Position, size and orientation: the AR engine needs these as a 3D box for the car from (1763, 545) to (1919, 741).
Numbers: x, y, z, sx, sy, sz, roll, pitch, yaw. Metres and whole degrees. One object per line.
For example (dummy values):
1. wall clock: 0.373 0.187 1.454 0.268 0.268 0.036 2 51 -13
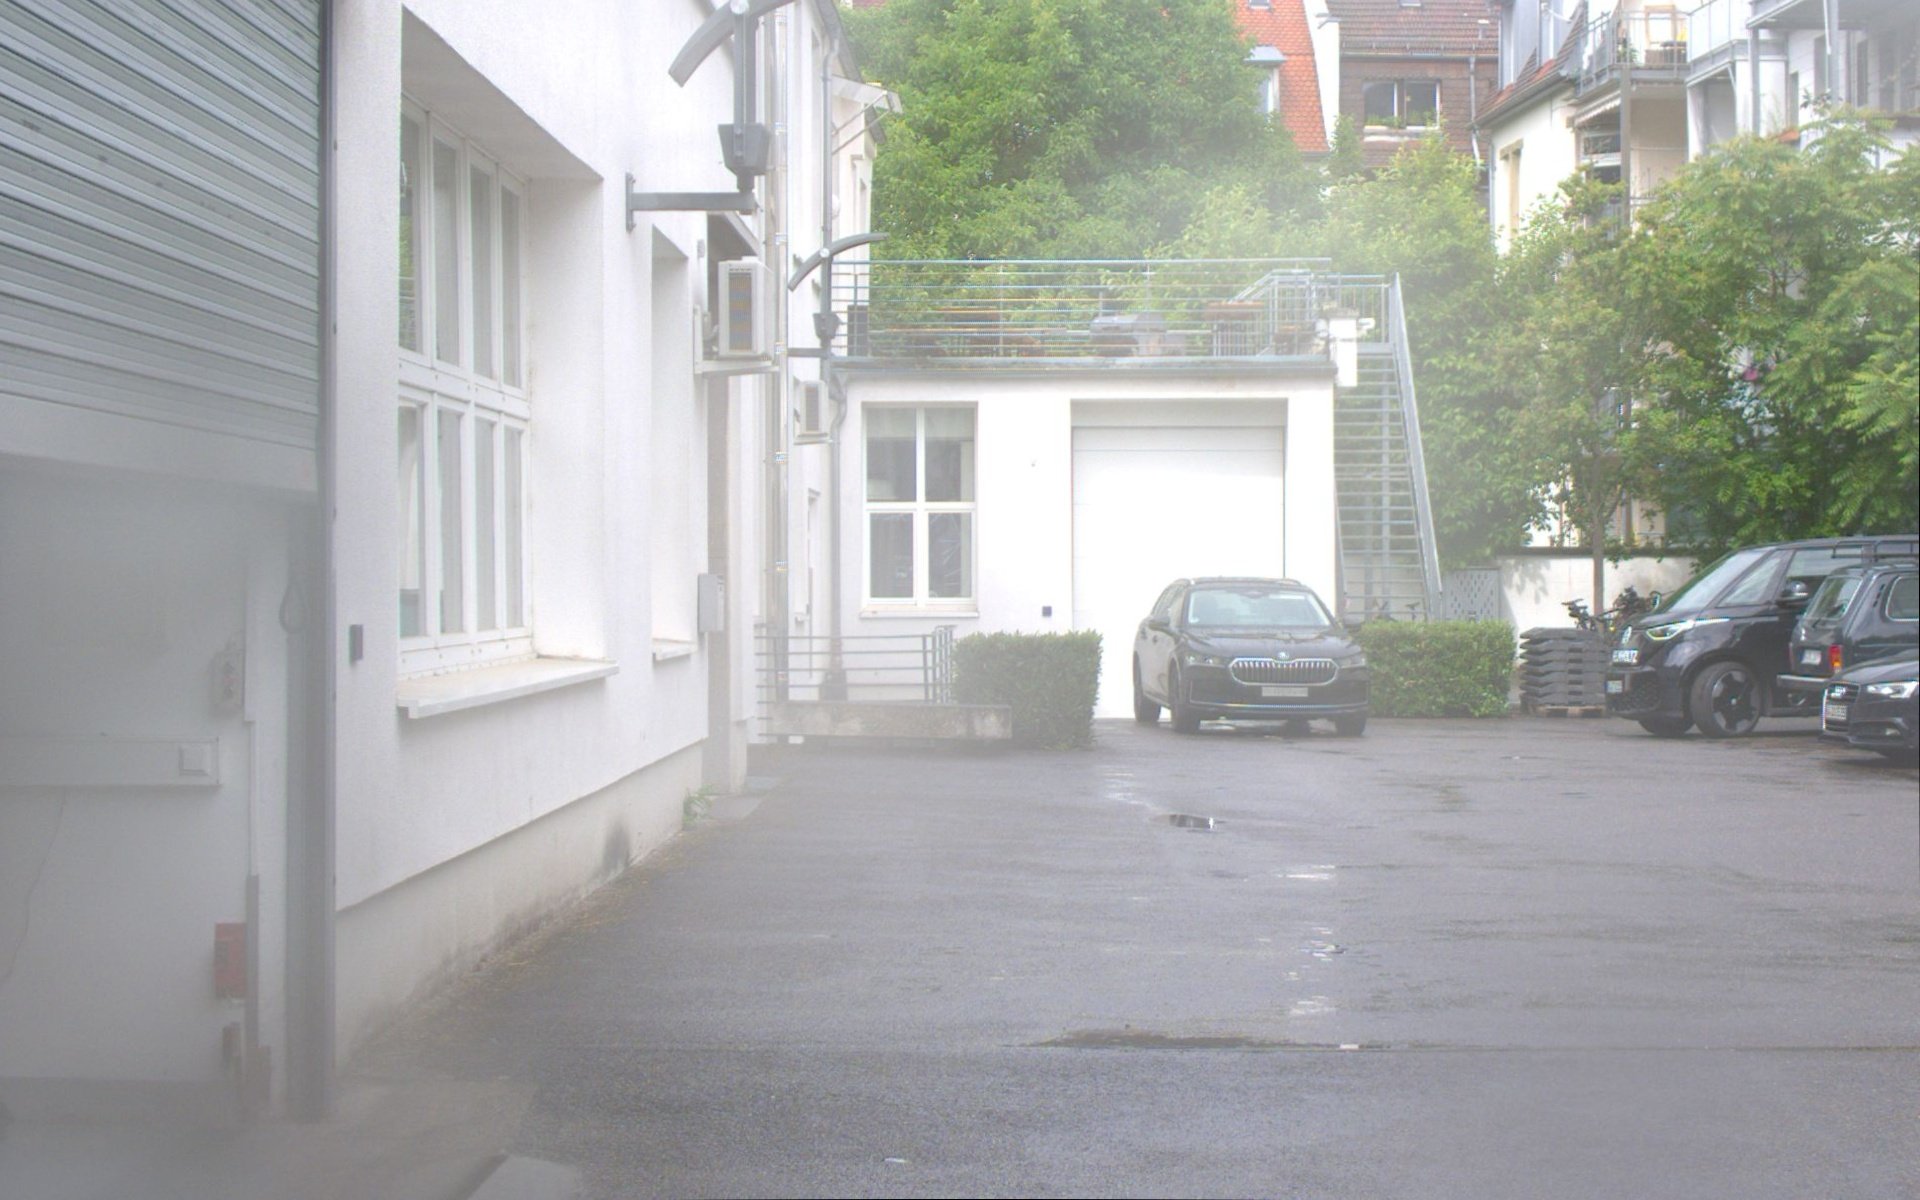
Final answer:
1. car: 9.363 0.339 30.715 3.909 1.682 1.817 -1 0 0

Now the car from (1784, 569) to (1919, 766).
1. car: 8.785 0.481 27.450 3.908 1.508 1.752 -1 0 -4

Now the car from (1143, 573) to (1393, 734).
1. car: 2.898 0.472 33.189 1.979 1.439 4.000 0 1 -1

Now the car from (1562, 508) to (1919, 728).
1. car: 8.485 0.127 33.544 4.634 1.996 2.226 -1 1 -9
